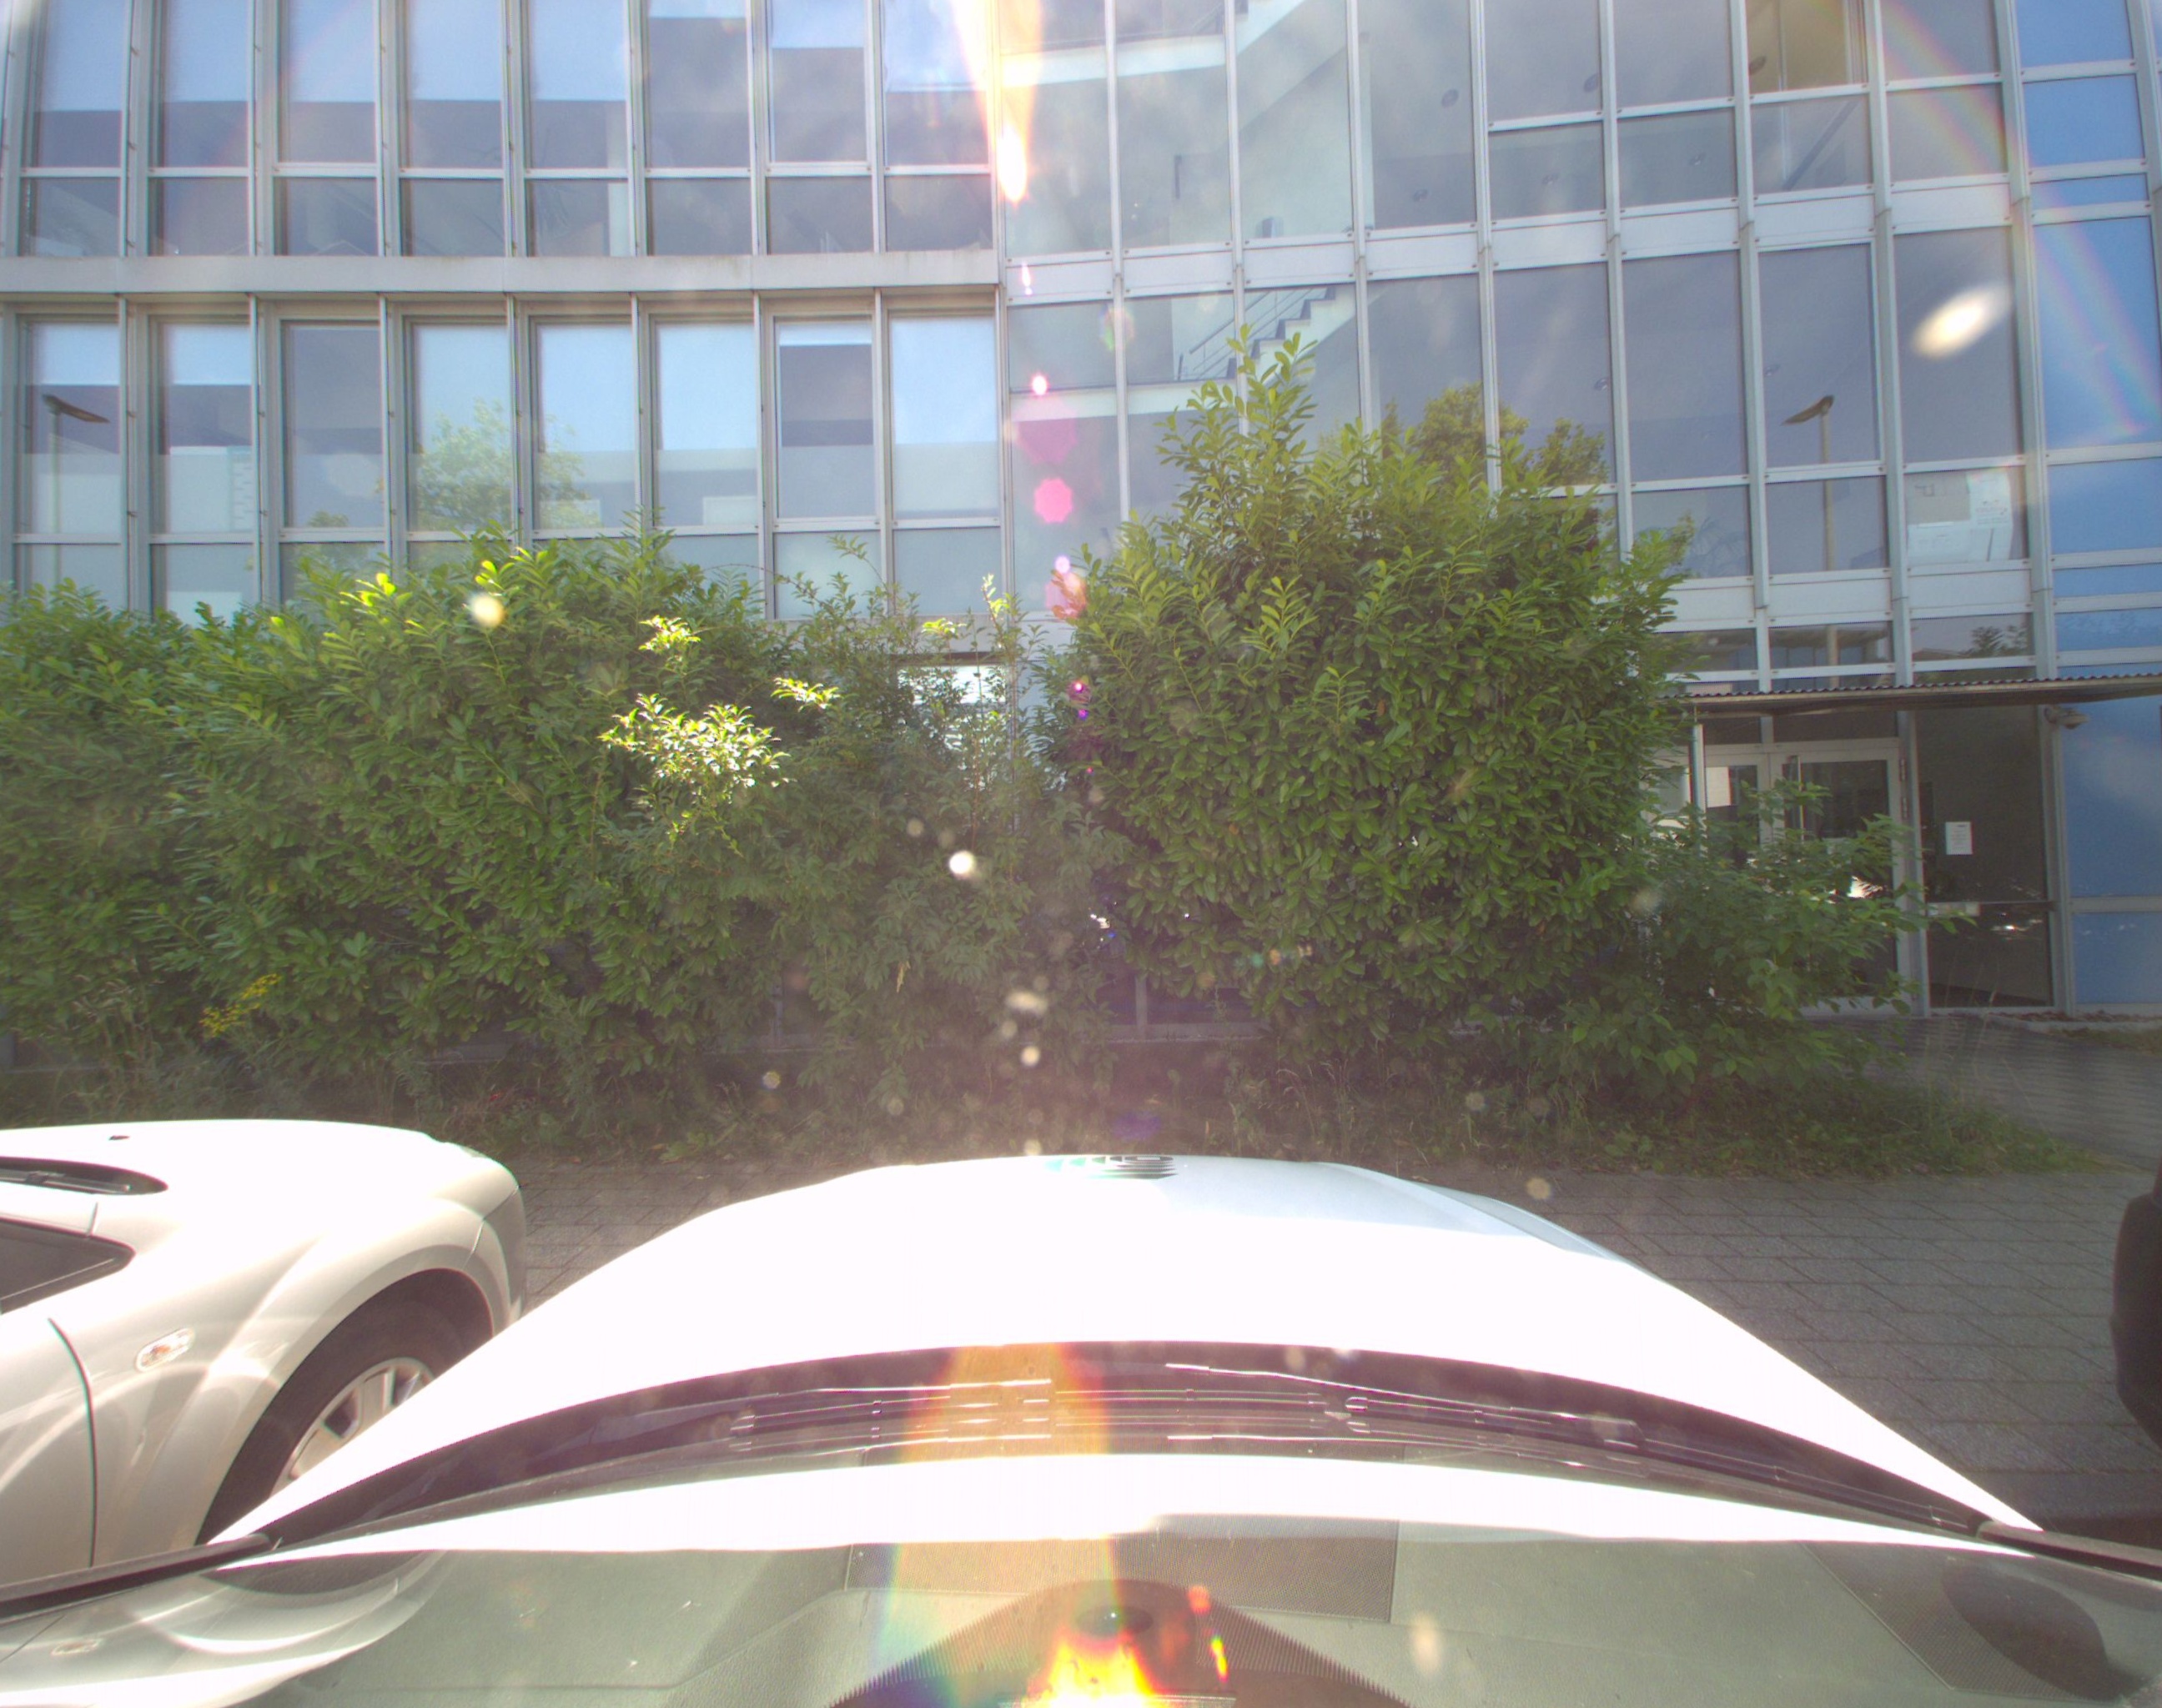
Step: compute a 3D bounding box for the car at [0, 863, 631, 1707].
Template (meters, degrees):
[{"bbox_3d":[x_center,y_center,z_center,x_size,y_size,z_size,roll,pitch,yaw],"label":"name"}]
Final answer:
[{"bbox_3d":[-2.200,0.769,0.170,1.713,1.479,4.349,-1,0,1],"label":"car"}]
